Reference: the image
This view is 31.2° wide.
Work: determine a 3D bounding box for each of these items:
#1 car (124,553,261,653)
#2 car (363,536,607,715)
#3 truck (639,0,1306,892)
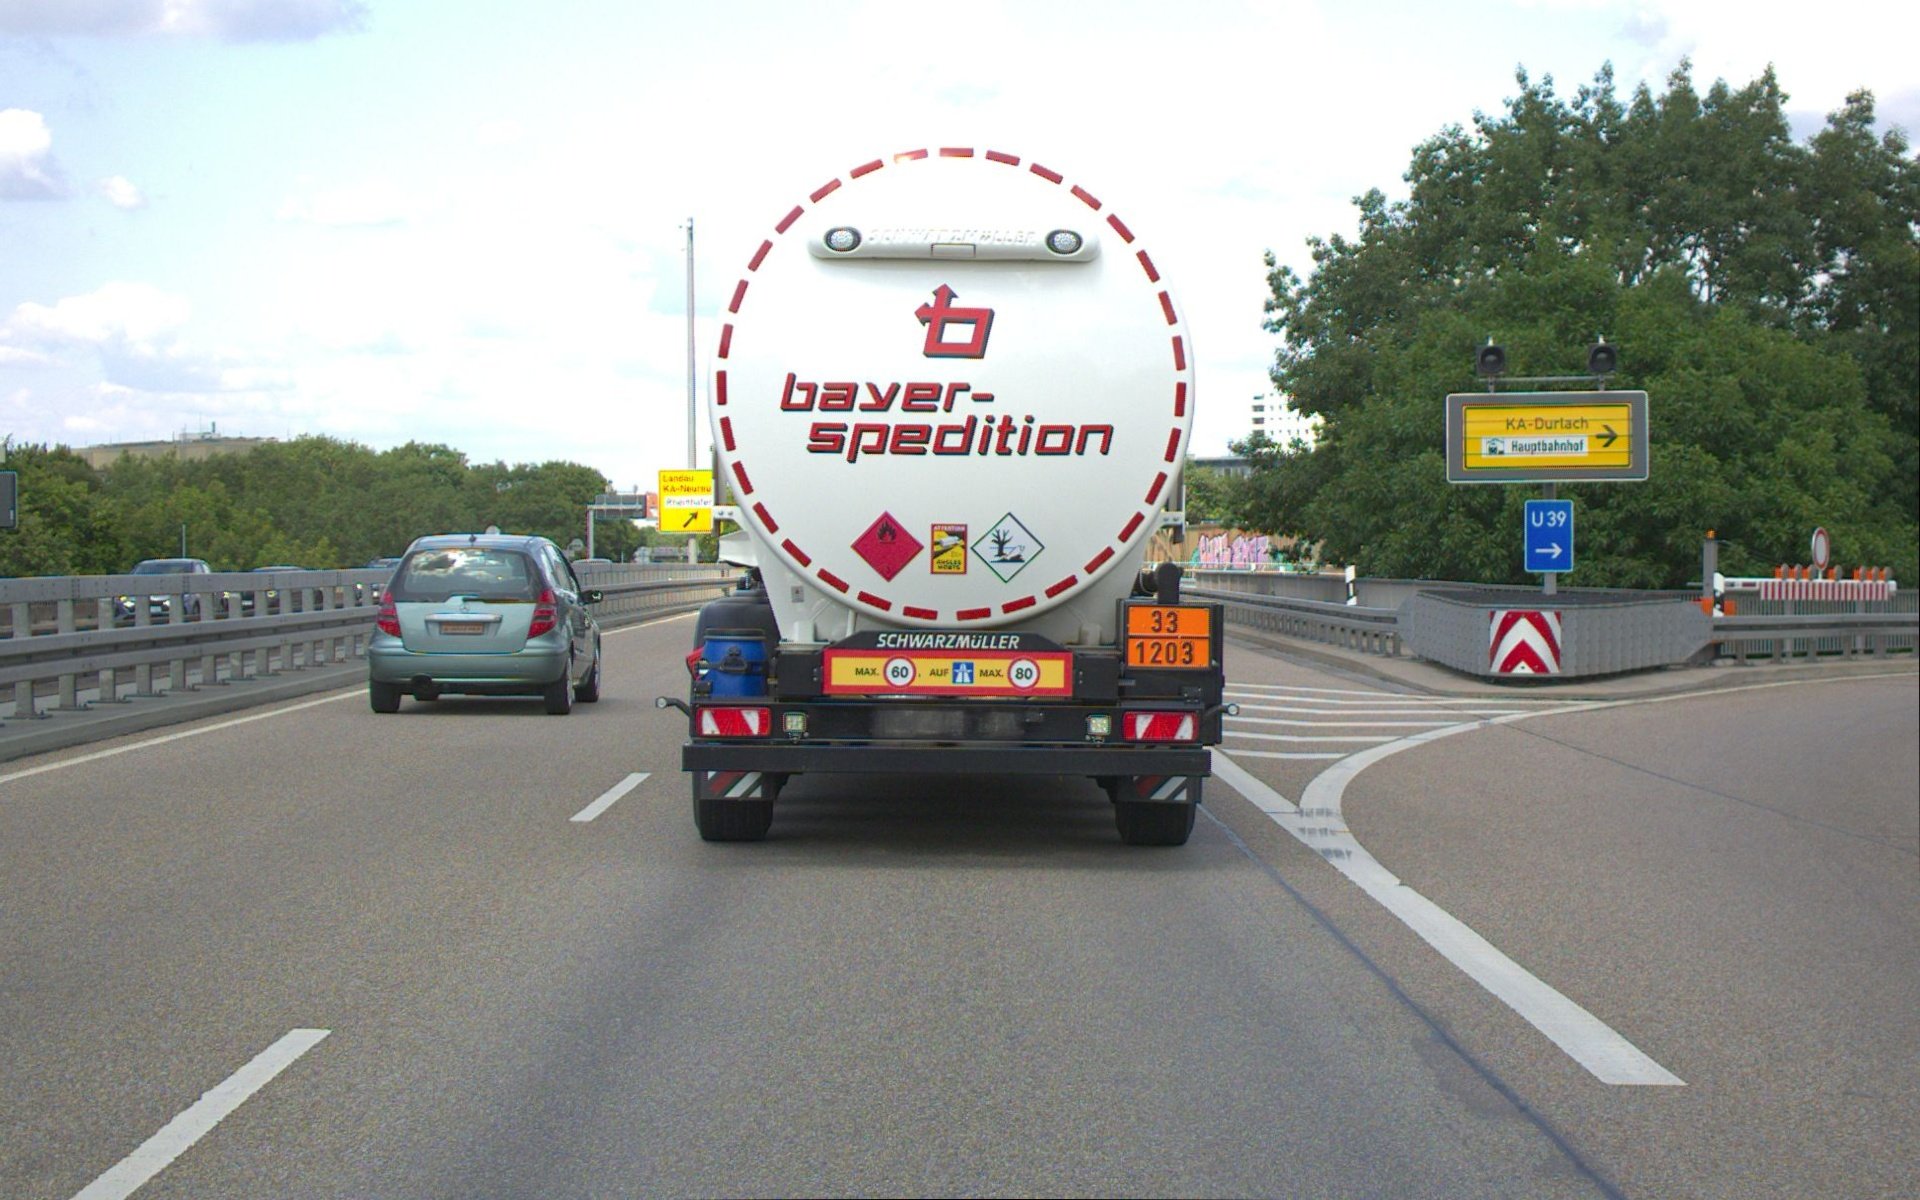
[{"bbox_3d":[-16.145,0.028,72.481,1.993,2.007,4.000,1,1,-1],"label":"car"},{"bbox_3d":[-4.291,0.180,31.561,1.747,1.526,4.000,0,1,-1],"label":"car"},{"bbox_3d":[-0.018,-0.952,19.371,2.895,4.354,8.030,1,1,-1],"label":"truck"}]
